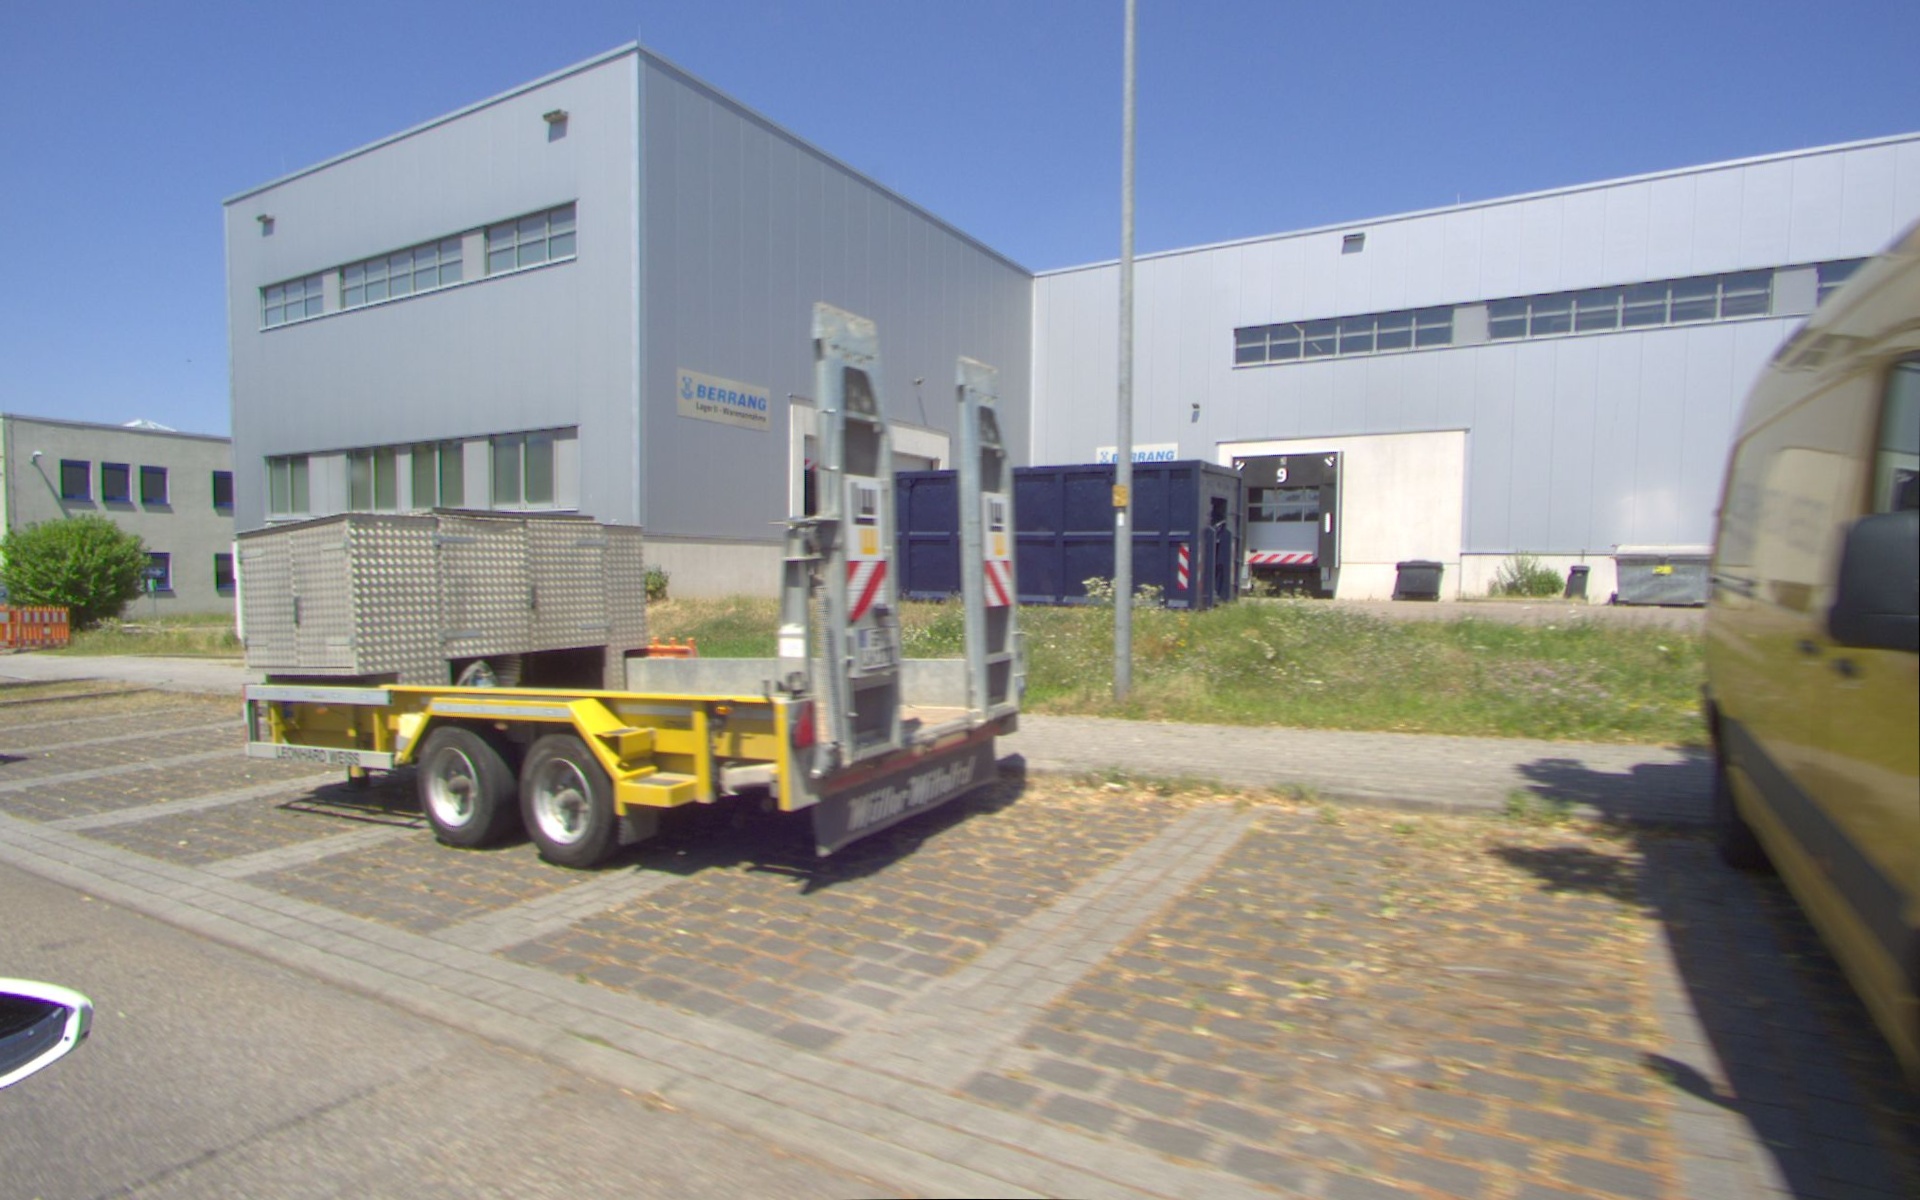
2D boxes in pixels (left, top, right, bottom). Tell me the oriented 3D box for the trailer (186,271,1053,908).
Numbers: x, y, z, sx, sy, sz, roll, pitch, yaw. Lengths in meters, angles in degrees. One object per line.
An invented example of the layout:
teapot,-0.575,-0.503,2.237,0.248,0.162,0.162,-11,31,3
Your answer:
trailer,-2.389,-0.080,6.998,5.433,2.897,2.652,0,3,28

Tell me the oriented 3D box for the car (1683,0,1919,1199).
car,3.627,-0.108,2.925,1.971,2.772,5.762,2,5,32

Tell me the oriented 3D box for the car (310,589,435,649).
car,-18.096,0.527,30.814,3.943,1.473,1.820,4,4,34

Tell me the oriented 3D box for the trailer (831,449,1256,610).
trailer,1.331,-1.295,18.349,7.306,2.454,2.652,4,3,33

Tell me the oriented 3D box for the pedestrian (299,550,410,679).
pedestrian,-9.290,0.204,15.391,1.192,1.915,0.864,1,2,16
